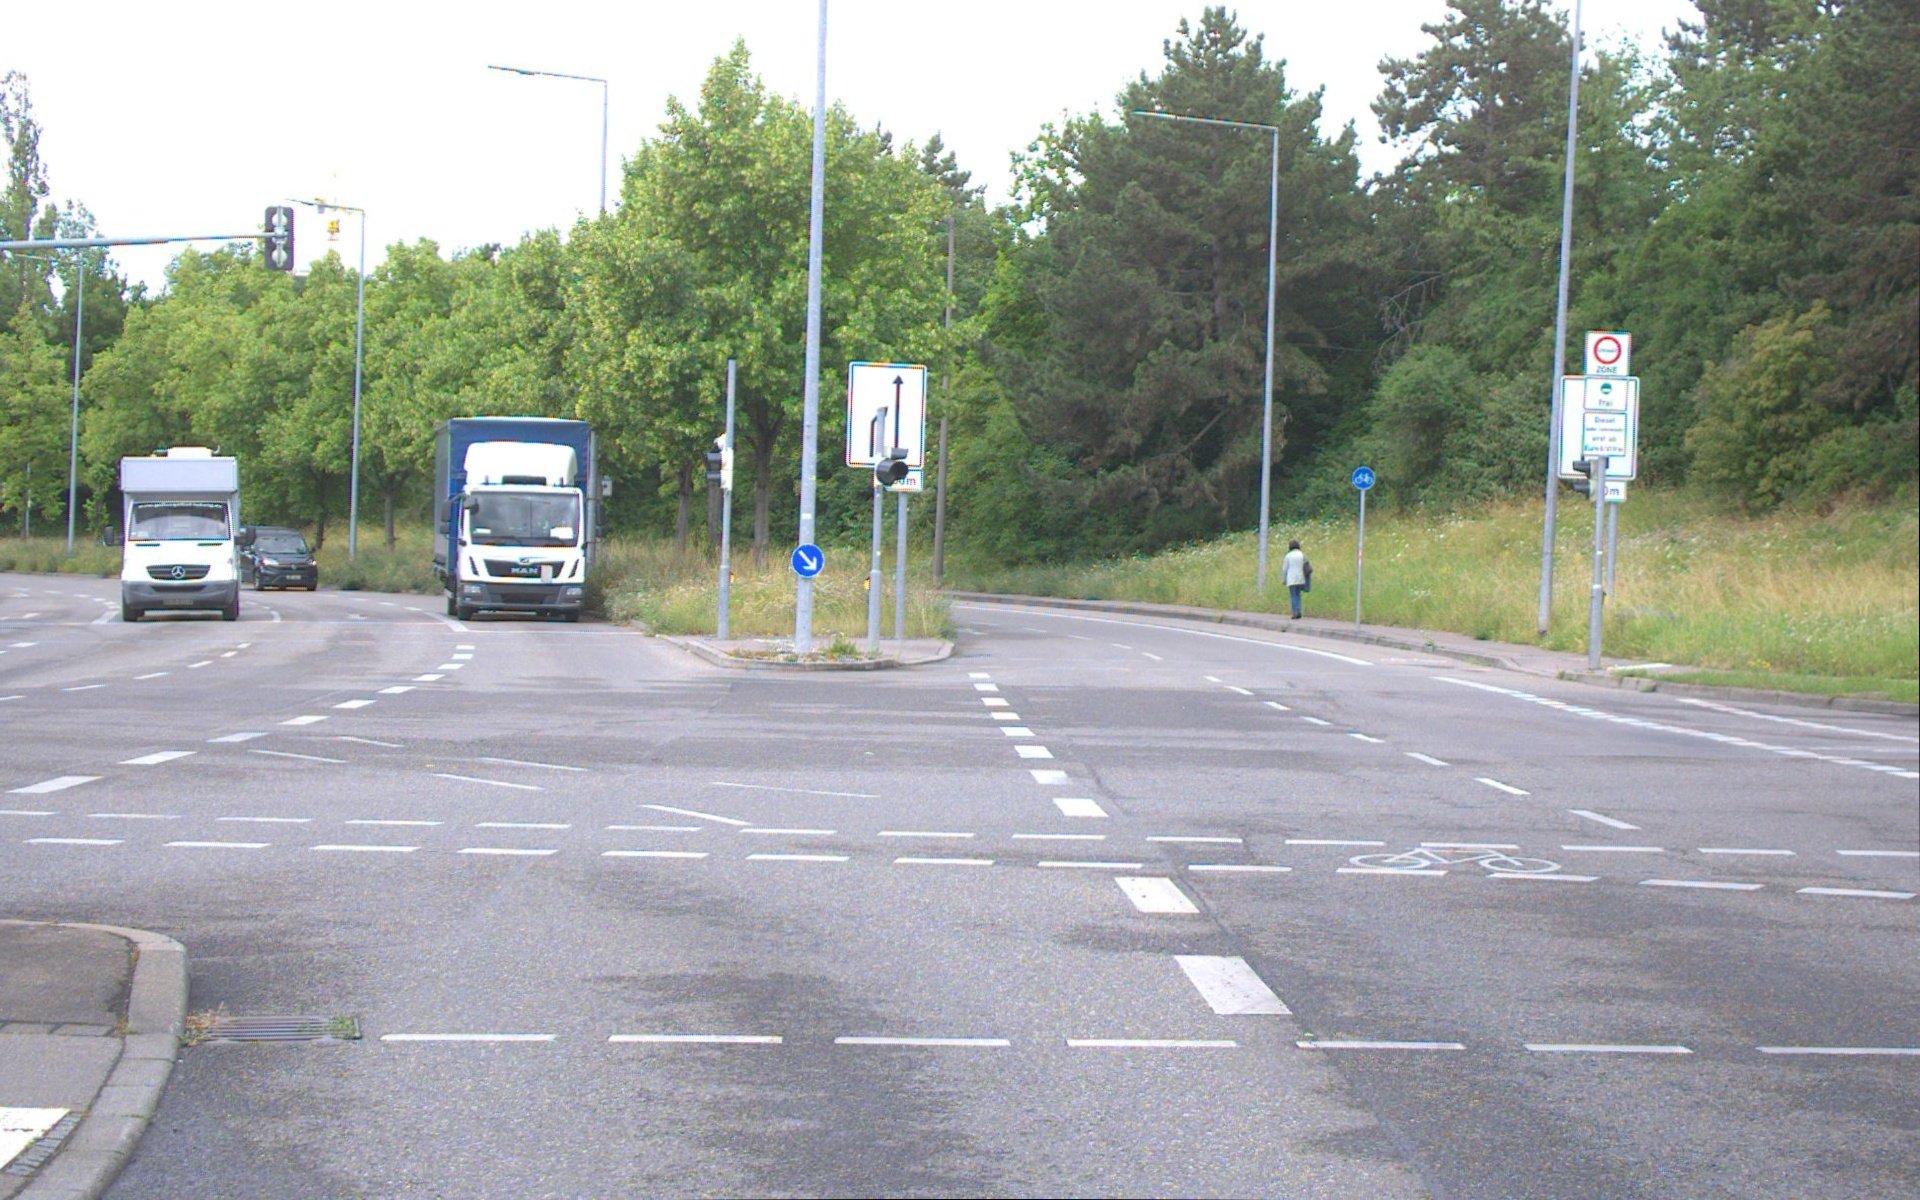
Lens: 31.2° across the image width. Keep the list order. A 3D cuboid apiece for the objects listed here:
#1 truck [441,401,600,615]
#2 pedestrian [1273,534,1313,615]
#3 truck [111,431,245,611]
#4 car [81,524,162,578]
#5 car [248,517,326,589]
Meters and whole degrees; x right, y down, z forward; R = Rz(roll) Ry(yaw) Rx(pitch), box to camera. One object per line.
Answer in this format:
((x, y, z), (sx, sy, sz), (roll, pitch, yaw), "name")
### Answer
((-8.444, -1.731, 65.730), (2.778, 3.791, 8.391), (1, 1, -8), "truck")
((7.036, -0.541, 72.642), (0.739, 1.711, 0.625), (1, 1, -1), "pedestrian")
((-14.102, -1.415, 62.173), (2.104, 3.000, 6.275), (-3, 1, -12), "truck")
((-28.493, -1.675, 116.766), (1.993, 1.777, 4.001), (0, 1, -23), "car")
((-19.578, -1.385, 99.860), (1.993, 2.007, 4.610), (0, 1, -14), "car")
